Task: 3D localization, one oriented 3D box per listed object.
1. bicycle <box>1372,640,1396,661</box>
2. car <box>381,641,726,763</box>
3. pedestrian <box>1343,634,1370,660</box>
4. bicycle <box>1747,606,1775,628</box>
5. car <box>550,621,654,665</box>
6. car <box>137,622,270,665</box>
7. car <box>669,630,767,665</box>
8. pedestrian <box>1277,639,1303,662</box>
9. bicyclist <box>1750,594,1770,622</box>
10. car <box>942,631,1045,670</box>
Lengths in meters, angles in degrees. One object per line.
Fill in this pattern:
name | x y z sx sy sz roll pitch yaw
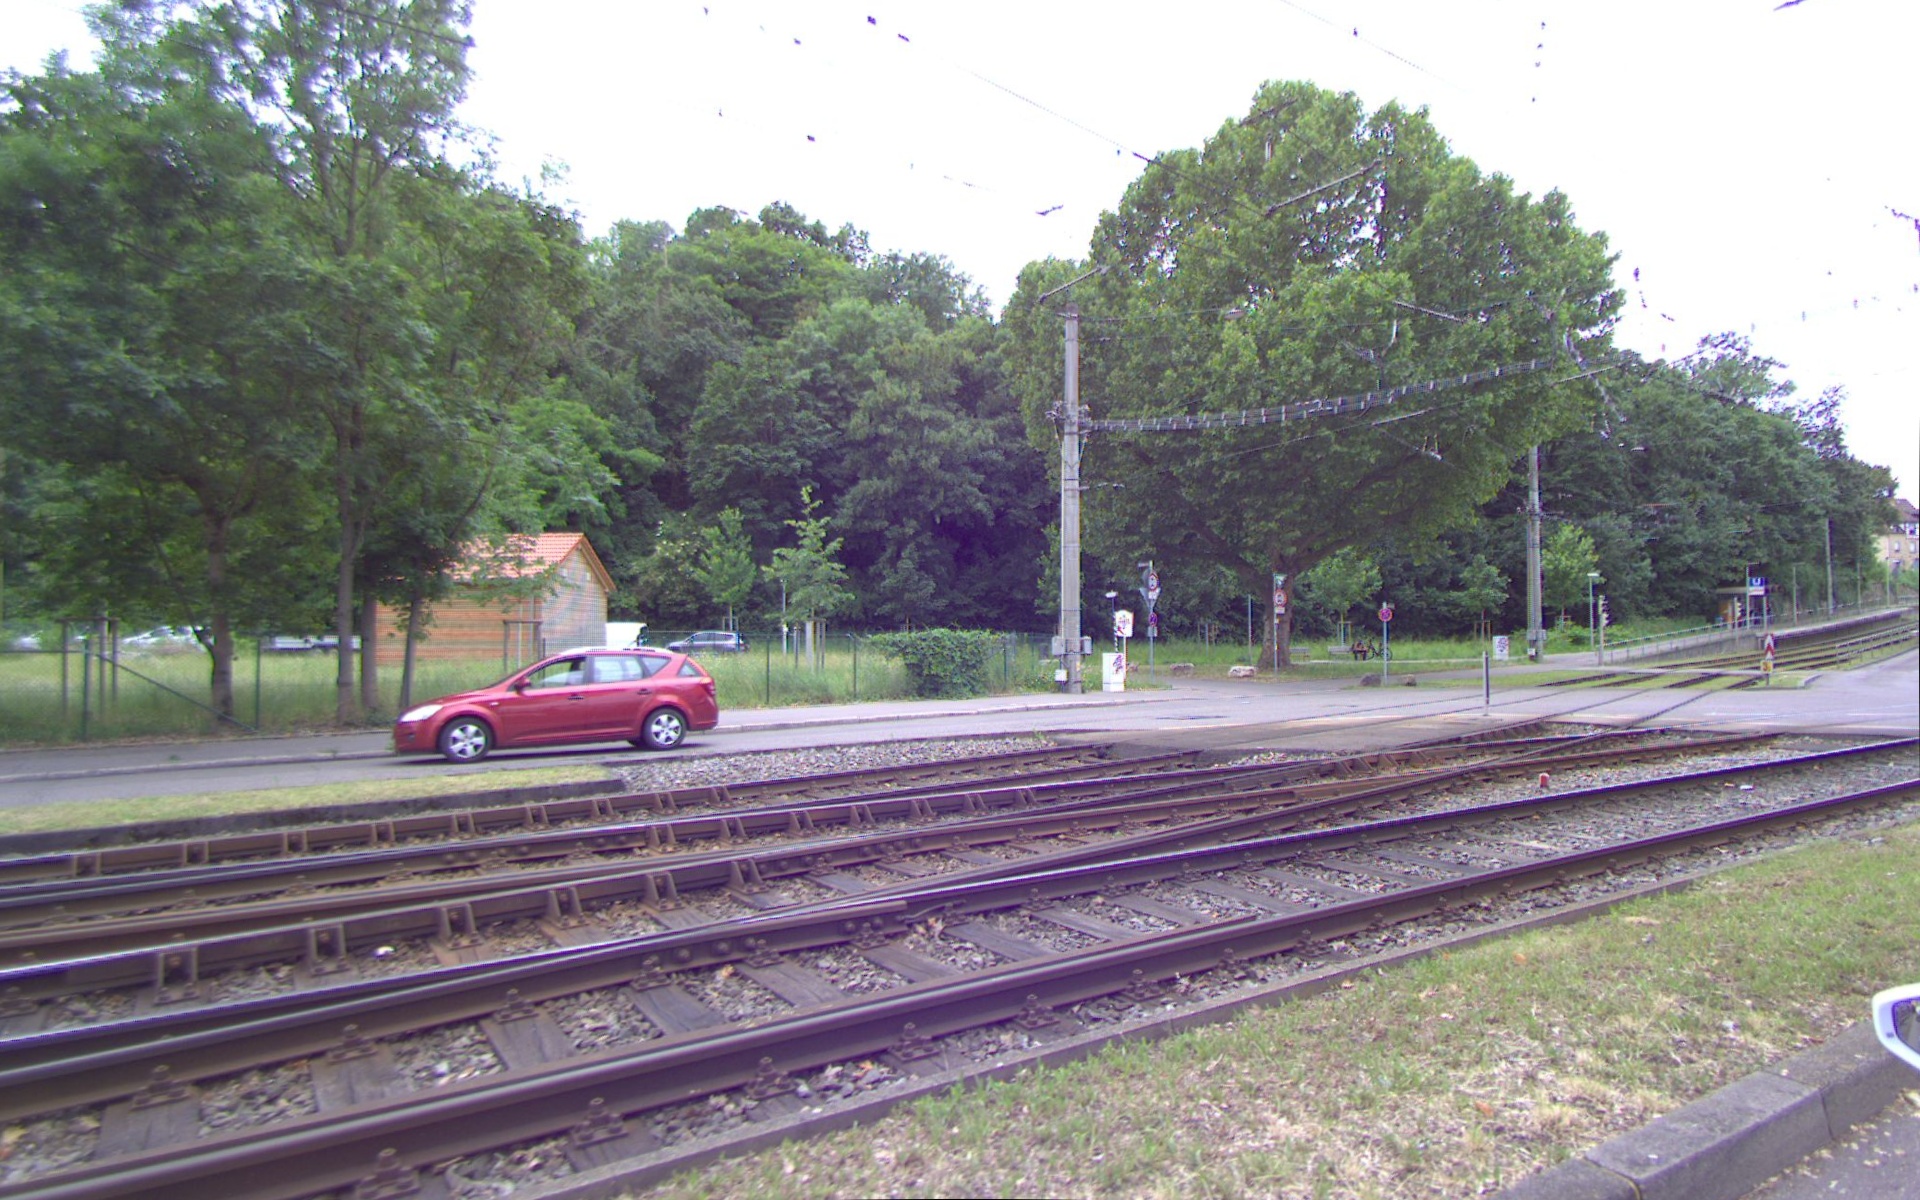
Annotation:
bicycle | 21.752 2.572 51.550 0.662 1.025 1.654 2 -1 8
car | -5.904 1.390 14.744 4.448 1.535 1.985 1 -3 -30
pedestrian | 20.469 2.416 51.821 1.035 1.284 1.117 2 -1 8
bicycle | 53.942 1.145 67.660 2.970 1.361 0.817 -2 -1 -39
car | -17.219 2.064 48.434 4.320 2.040 1.999 0 -2 -5
car | -31.148 1.787 41.458 3.921 1.684 2.000 0 -2 0
car | -11.639 2.276 48.549 4.320 1.603 1.998 0 -2 -6
pedestrian | 16.810 2.585 51.178 1.059 1.110 0.906 2 -1 5
bicyclist | 53.793 0.524 67.562 1.042 1.874 0.815 -2 0 -38
car | 1.628 2.497 50.162 4.985 1.913 2.355 0 -2 -2
